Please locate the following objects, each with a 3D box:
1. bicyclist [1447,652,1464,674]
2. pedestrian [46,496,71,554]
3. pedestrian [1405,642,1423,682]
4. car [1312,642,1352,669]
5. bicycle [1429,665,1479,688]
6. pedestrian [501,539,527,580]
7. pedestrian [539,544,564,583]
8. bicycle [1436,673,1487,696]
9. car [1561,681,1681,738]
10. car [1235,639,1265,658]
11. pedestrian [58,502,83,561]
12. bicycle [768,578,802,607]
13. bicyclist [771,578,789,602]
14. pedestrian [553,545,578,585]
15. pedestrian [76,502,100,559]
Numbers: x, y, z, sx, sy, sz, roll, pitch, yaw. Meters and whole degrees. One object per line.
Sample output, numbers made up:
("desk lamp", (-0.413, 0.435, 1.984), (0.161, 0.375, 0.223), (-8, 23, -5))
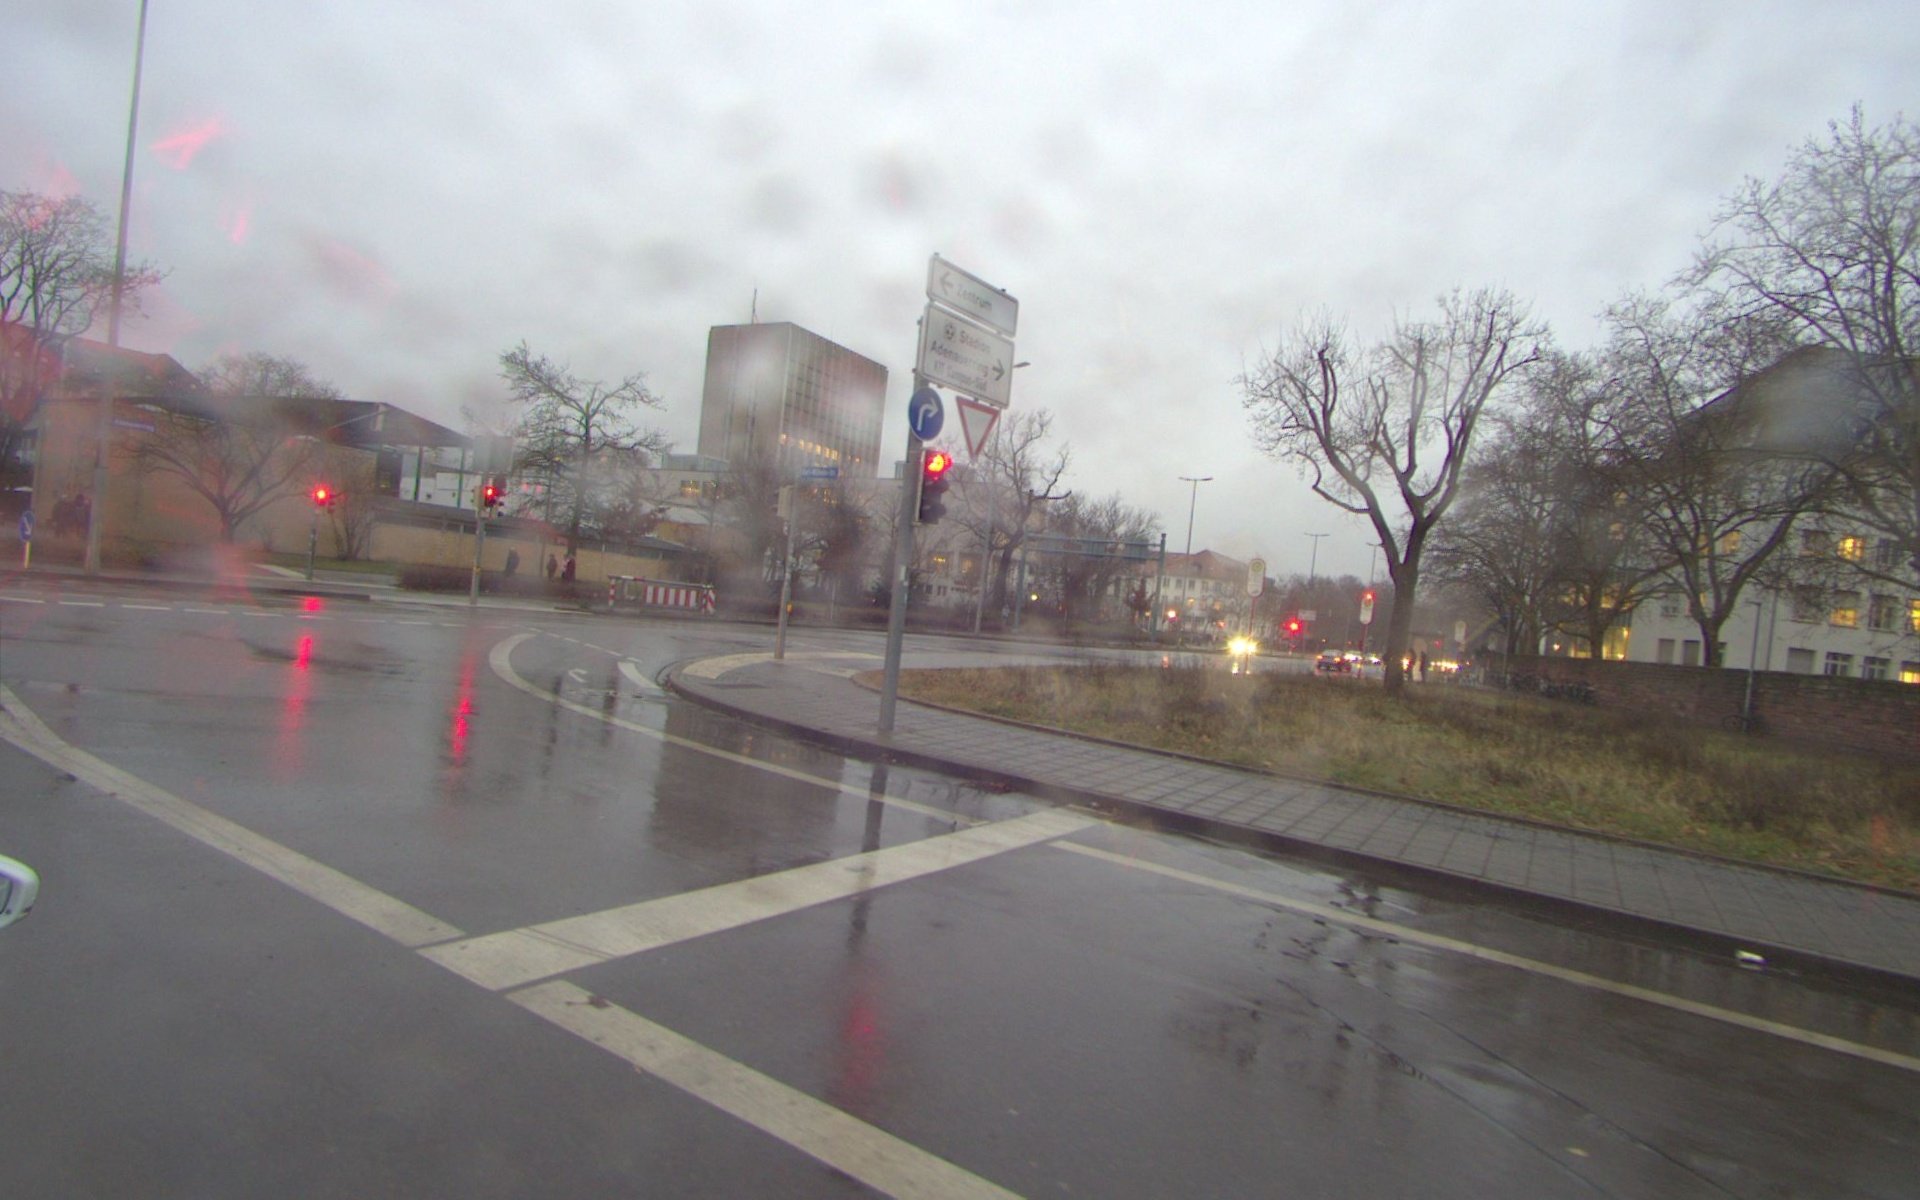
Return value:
("bicyclist", (26.893, 3.415, 54.613), (0.690, 1.092, 0.494), (5, -2, 32))
("pedestrian", (-29.826, -2.461, 33.292), (0.436, 1.860, 0.455), (6, -1, -40))
("pedestrian", (22.007, 3.004, 48.758), (0.633, 1.857, 0.836), (5, -1, 23))
("car", (27.902, 4.145, 75.392), (1.861, 1.670, 3.635), (5, -3, 35))
("bicycle", (27.149, 4.194, 55.261), (2.373, 1.003, 0.537), (5, -2, 31))
("pedestrian", (-20.333, -1.851, 45.860), (0.749, 1.745, 0.623), (5, -2, 38))
("pedestrian", (-19.294, -1.736, 47.531), (0.749, 1.745, 0.623), (5, -2, 38))
("bicycle", (27.162, 4.570, 54.471), (2.373, 1.003, 0.479), (5, -2, 31))
("car", (15.123, 2.518, 22.991), (2.656, 0.989, 1.290), (7, 1, -34))
("car", (30.322, 5.073, 105.265), (1.719, 1.670, 4.240), (5, -3, 33))
("pedestrian", (-28.980, -2.226, 32.774), (0.456, 1.860, 0.434), (7, -1, -41))
("bicycle", (-10.121, -0.438, 58.275), (0.584, 1.439, 1.922), (5, -2, 40))
("bicyclist", (-10.364, -0.560, 57.942), (0.599, 1.261, 0.698), (5, -2, 40))
("pedestrian", (-18.442, -1.635, 47.023), (0.749, 1.745, 0.623), (5, -2, 38))
("pedestrian", (-29.454, -2.354, 33.971), (0.435, 1.860, 0.455), (6, -1, -40))
